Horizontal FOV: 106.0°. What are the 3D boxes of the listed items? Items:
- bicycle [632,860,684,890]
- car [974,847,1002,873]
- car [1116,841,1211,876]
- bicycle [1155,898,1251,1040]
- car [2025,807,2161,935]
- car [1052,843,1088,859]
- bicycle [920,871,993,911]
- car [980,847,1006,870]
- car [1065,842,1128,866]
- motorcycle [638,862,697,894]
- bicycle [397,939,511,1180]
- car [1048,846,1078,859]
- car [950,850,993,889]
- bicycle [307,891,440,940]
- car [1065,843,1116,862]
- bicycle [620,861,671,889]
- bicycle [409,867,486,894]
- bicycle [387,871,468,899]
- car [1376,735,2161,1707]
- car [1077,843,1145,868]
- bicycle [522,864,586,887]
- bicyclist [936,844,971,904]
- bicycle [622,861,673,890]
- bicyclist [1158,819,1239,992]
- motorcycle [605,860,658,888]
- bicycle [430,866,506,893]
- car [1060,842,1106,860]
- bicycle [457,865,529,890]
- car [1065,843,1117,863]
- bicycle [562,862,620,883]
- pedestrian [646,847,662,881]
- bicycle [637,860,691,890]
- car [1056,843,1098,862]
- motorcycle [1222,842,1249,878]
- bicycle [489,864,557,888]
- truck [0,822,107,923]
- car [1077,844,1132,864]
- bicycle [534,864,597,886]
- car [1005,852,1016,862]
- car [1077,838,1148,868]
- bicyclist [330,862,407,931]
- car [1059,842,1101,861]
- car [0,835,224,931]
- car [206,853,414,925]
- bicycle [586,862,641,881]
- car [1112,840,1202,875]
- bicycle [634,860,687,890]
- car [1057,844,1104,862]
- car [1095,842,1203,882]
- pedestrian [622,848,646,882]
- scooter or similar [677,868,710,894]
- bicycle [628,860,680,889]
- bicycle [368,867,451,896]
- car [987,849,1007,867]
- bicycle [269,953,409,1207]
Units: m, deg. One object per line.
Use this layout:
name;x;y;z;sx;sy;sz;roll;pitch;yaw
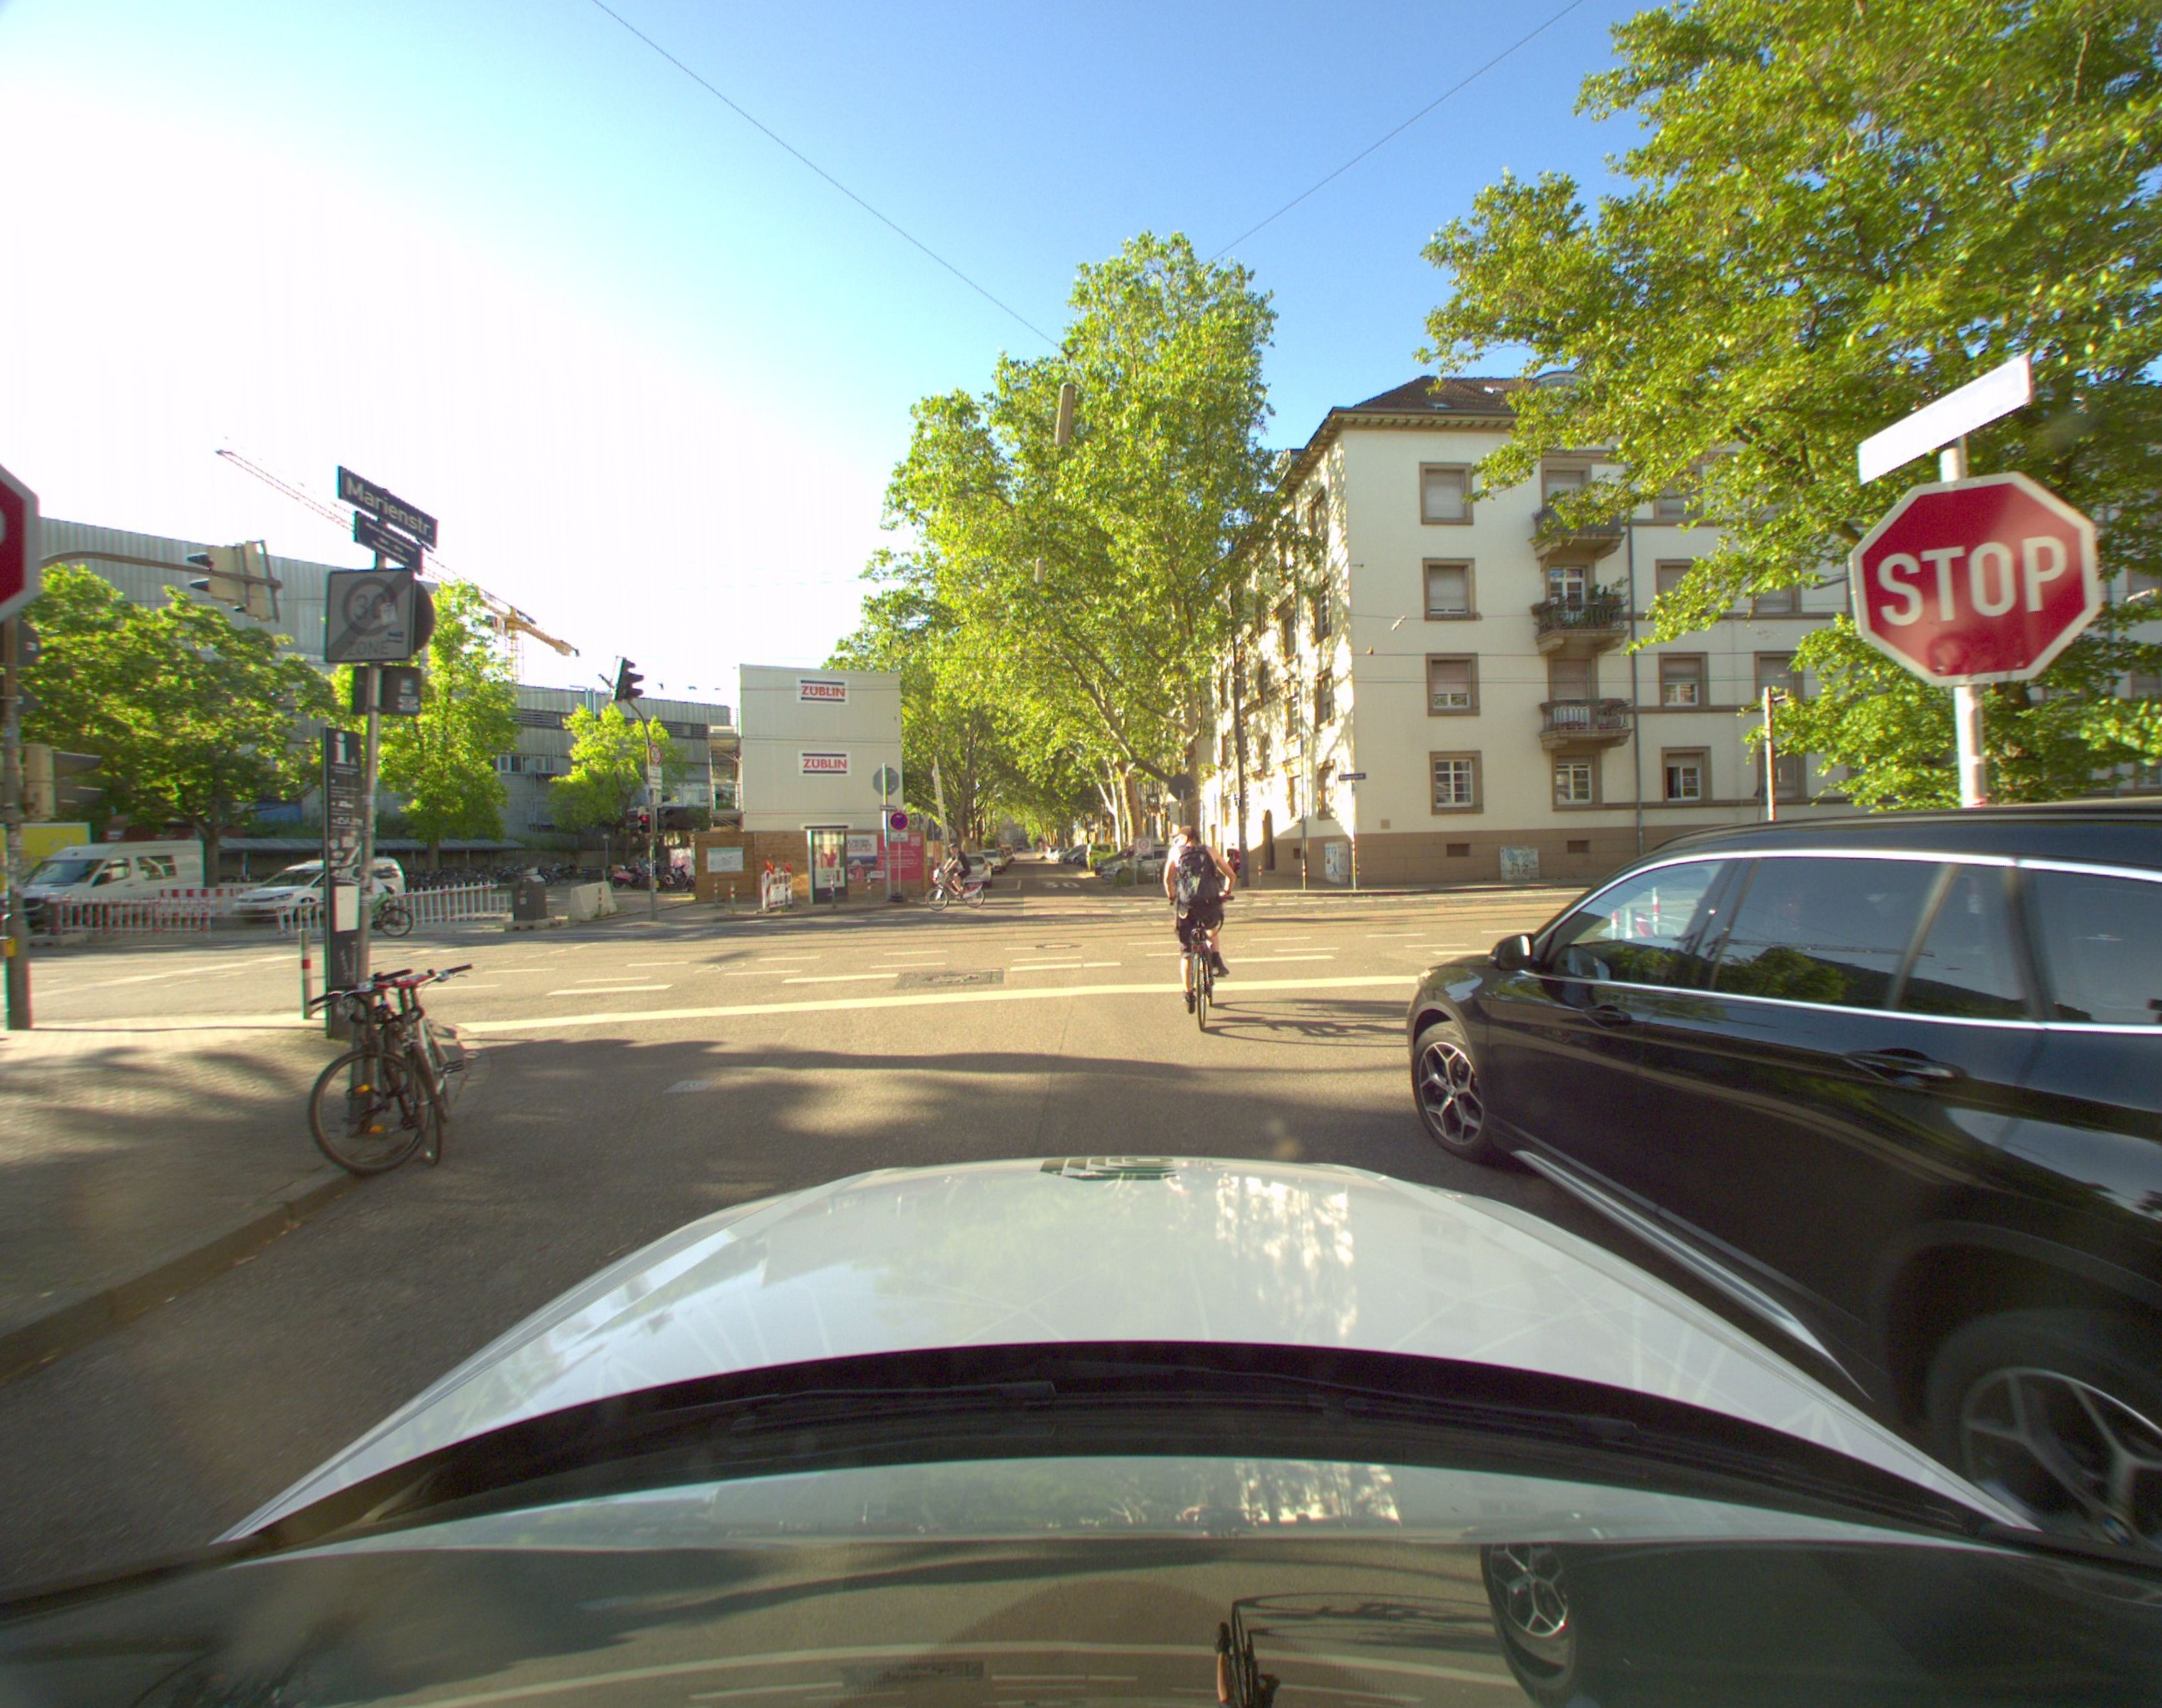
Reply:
bicycle;-19.416;0.947;37.419;2.061;1.257;0.465;-3;2;-42
car;-5.923;0.372;52.075;1.663;1.562;3.992;-2;1;-6
car;4.116;0.228;40.803;4.455;1.571;1.725;-2;0;-6
bicycle;1.058;0.966;7.455;0.687;1.016;1.909;0;0;3
car;14.329;0.142;9.456;1.624;1.555;4.097;-3;-1;-28
car;-1.456;-0.429;104.632;4.455;1.898;1.725;-2;0;-6
bicycle;-3.572;1.040;23.395;1.923;1.018;0.677;-2;0;-23
car;-6.224;0.295;57.767;1.663;1.562;4.510;-2;1;-6
car;1.096;0.007;59.688;4.455;1.571;1.725;-2;0;-6
motorcycle;-18.152;1.041;35.797;2.224;1.257;0.537;-3;2;-42
bicycle;-3.883;1.158;5.051;0.460;1.045;1.669;-2;3;-38
car;-2.733;-0.263;124.327;4.455;1.898;1.725;-2;0;-6
car;-4.777;0.637;36.008;1.641;1.494;3.992;-4;1;-6
bicycle;-17.535;1.514;20.231;2.418;1.093;0.894;-2;-1;-5
car;0.841;-0.107;74.776;4.455;1.571;1.725;-2;0;-6
bicycle;-21.182;1.020;39.619;2.061;1.257;0.537;-3;2;-42
bicycle;-29.782;1.231;38.314;3.065;1.147;0.823;-2;1;4
bicycle;-29.843;1.409;37.208;3.065;1.147;0.823;-2;1;4
car;2.579;0.631;2.701;1.754;1.662;4.198;0;0;1
car;2.004;0.097;55.817;4.455;1.571;1.725;-2;0;-6
bicycle;-29.135;1.178;45.049;3.065;1.147;0.823;-2;1;4
bicyclist;-3.653;0.568;23.366;0.813;1.658;0.677;-2;0;-23
bicycle;-20.838;1.016;39.139;2.061;1.257;0.537;-3;2;-42
bicyclist;1.056;0.451;7.447;0.673;1.513;0.669;0;0;2
motorcycle;-22.214;0.981;40.287;2.224;1.257;0.537;-3;2;-42
bicycle;-29.635;1.232;39.385;3.065;1.147;0.823;-2;1;4
car;0.161;-0.313;81.820;4.455;1.571;1.725;-2;0;-6
bicycle;-29.568;1.171;40.951;3.065;1.147;0.823;-2;1;4
car;0.887;-0.104;72.300;4.455;1.571;1.725;-2;0;-6
bicycle;-29.776;1.100;49.494;3.065;1.147;0.823;-2;1;4
pedestrian;-26.129;0.596;49.794;0.805;2.013;1.021;-2;1;-28
bicycle;-18.773;0.935;36.691;2.061;1.257;0.465;-3;2;-42
car;-0.467;-0.164;91.876;4.455;1.898;1.725;-2;0;-6
motorcycle;6.040;0.223;31.967;0.513;1.332;1.759;-2;1;-6
bicycle;-29.386;1.175;42.879;3.065;1.147;0.823;-2;1;4
truck;-36.968;0.661;26.386;2.378;3.347;7.112;-2;2;-4
car;1.984;0.011;69.183;4.455;1.571;1.725;-2;0;-6
bicycle;-29.113;1.180;45.986;3.065;1.147;0.823;-2;1;4
car;-11.733;0.413;134.922;1.663;1.562;4.210;-2;1;-6
car;2.050;-0.089;53.800;4.456;1.836;1.725;-2;0;-6
bicyclist;-17.668;1.047;20.231;1.094;1.640;0.894;-2;-1;-4
car;-0.093;-0.269;89.134;4.455;1.898;1.725;-2;0;-6
car;-31.332;0.788;26.239;1.992;2.530;5.370;-2;4;-7
car;-25.204;1.050;26.962;1.997;1.892;4.949;-1;3;1
bicycle;-30.079;1.114;52.425;3.065;1.147;0.823;-2;1;4
car;3.956;0.151;42.881;4.455;1.671;1.725;-2;0;-6
bicycle;-19.101;0.942;37.032;2.061;1.257;0.465;-3;2;-42
car;-0.047;-0.102;79.478;4.455;1.571;1.725;-2;0;-6
car;2.960;0.341;35.869;4.455;1.571;1.725;-2;0;-6
pedestrian;-26.974;0.654;49.122;0.796;2.013;0.940;-2;1;6
scooter or similar;-16.715;1.140;35.178;0.381;1.020;1.493;-1;1;14
bicycle;-20.053;0.960;38.256;2.061;1.257;0.537;-3;2;-42
bicycle;-29.806;1.224;36.169;3.065;1.147;0.823;-2;1;4
car;-7.673;0.338;74.429;1.663;1.562;4.607;-2;1;-6
bicycle;-4.258;1.196;4.749;0.453;1.045;1.645;-2;1;-38
